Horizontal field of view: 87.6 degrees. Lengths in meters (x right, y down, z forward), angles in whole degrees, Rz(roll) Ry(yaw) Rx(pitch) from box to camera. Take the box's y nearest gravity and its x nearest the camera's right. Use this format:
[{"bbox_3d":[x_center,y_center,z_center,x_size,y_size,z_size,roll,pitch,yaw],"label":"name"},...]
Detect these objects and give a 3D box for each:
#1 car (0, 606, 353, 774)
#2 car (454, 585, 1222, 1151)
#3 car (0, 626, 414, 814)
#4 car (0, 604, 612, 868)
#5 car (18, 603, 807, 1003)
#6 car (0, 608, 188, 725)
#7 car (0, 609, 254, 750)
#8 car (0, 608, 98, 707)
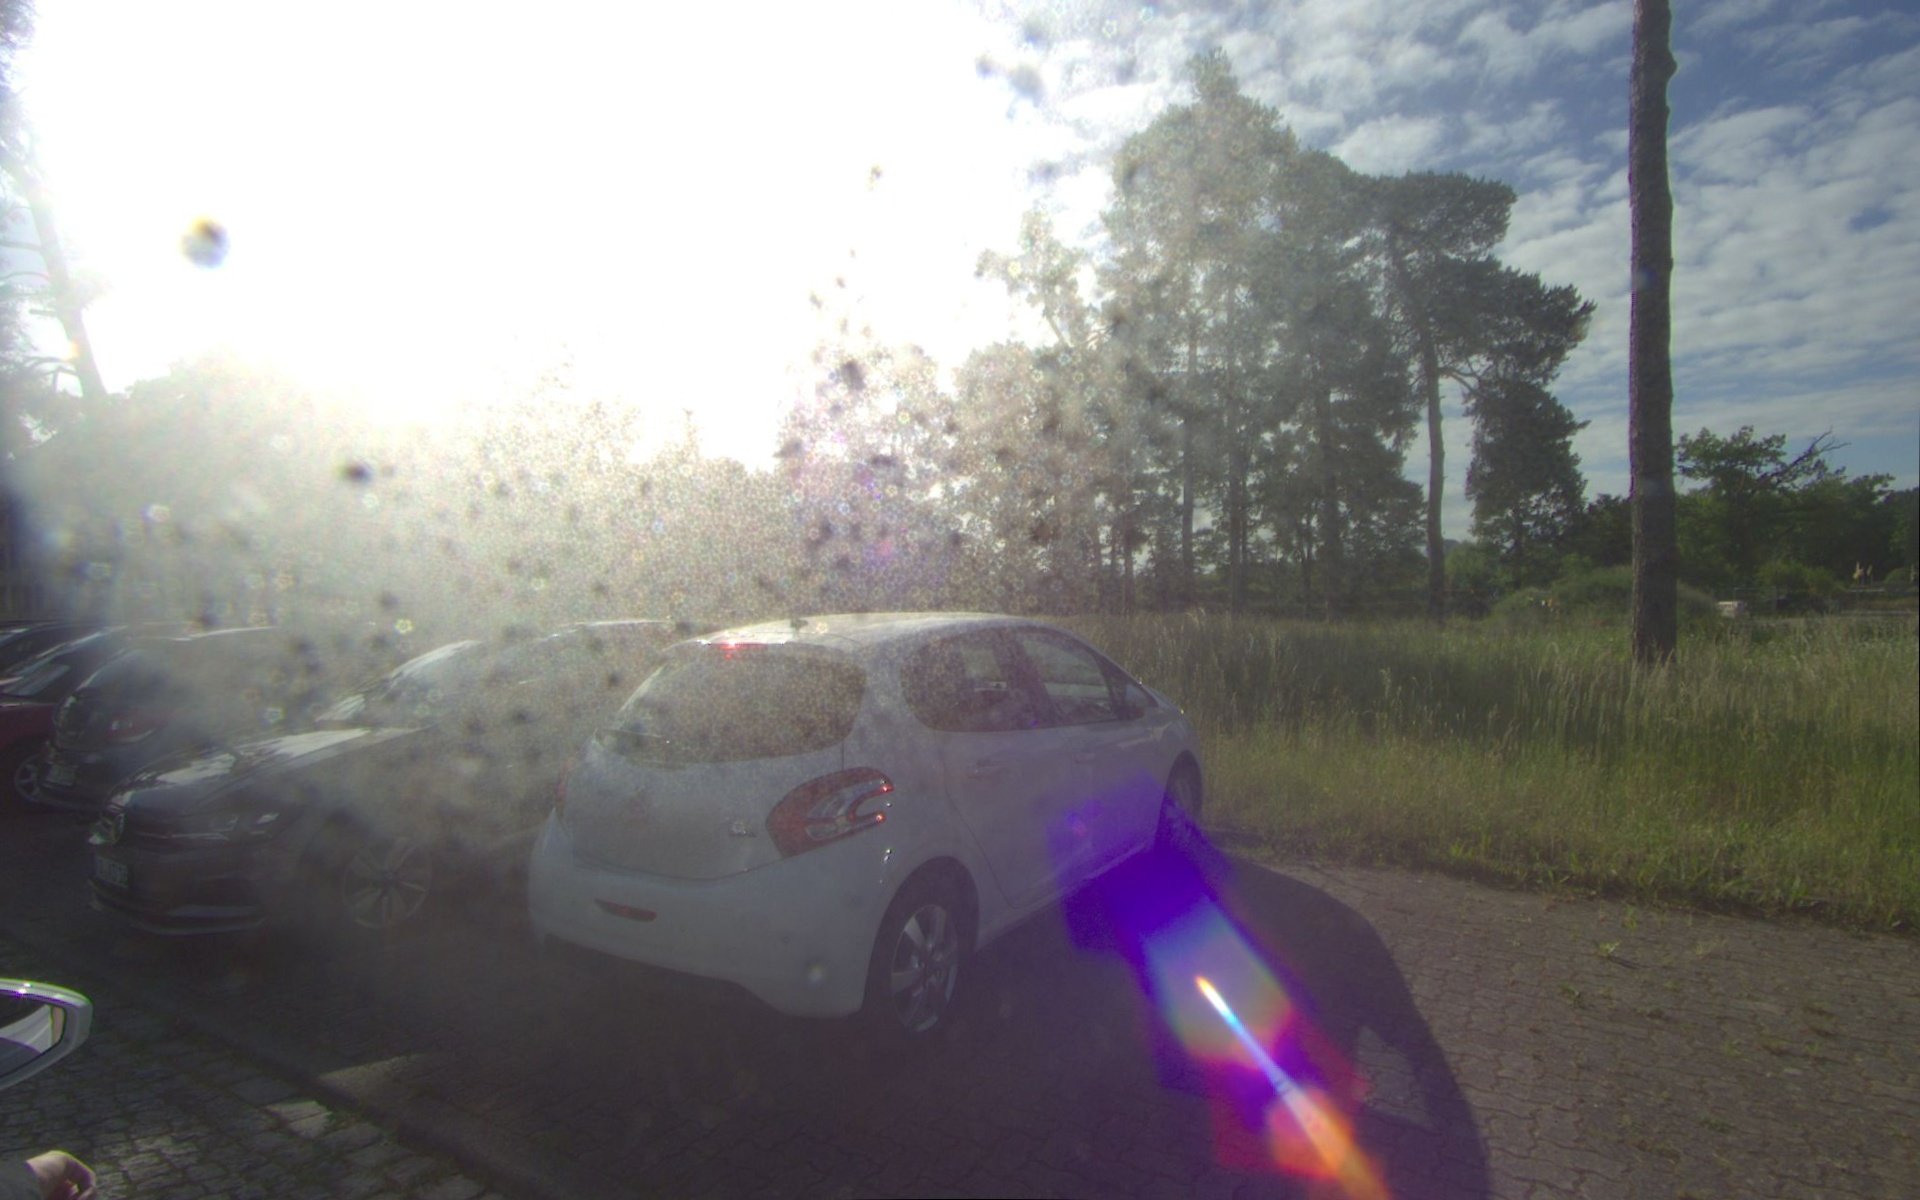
[{"bbox_3d":[-9.062,0.859,10.678,1.613,1.469,4.117,0,2,32],"label":"car"},{"bbox_3d":[-0.163,0.741,4.851,1.736,1.555,3.698,0,2,32],"label":"car"},{"bbox_3d":[-7.273,0.957,9.080,1.721,1.240,3.698,0,2,32],"label":"car"},{"bbox_3d":[-4.912,0.822,8.021,1.790,1.469,3.698,0,2,32],"label":"car"},{"bbox_3d":[-2.848,0.809,5.988,1.830,1.469,3.698,0,2,33],"label":"car"},{"bbox_3d":[-13.144,0.897,13.073,1.613,1.434,4.548,0,2,32],"label":"car"},{"bbox_3d":[-10.998,0.903,11.458,1.755,1.434,4.421,0,2,32],"label":"car"},{"bbox_3d":[-15.387,0.900,14.655,1.613,1.434,3.872,0,2,32],"label":"car"}]
